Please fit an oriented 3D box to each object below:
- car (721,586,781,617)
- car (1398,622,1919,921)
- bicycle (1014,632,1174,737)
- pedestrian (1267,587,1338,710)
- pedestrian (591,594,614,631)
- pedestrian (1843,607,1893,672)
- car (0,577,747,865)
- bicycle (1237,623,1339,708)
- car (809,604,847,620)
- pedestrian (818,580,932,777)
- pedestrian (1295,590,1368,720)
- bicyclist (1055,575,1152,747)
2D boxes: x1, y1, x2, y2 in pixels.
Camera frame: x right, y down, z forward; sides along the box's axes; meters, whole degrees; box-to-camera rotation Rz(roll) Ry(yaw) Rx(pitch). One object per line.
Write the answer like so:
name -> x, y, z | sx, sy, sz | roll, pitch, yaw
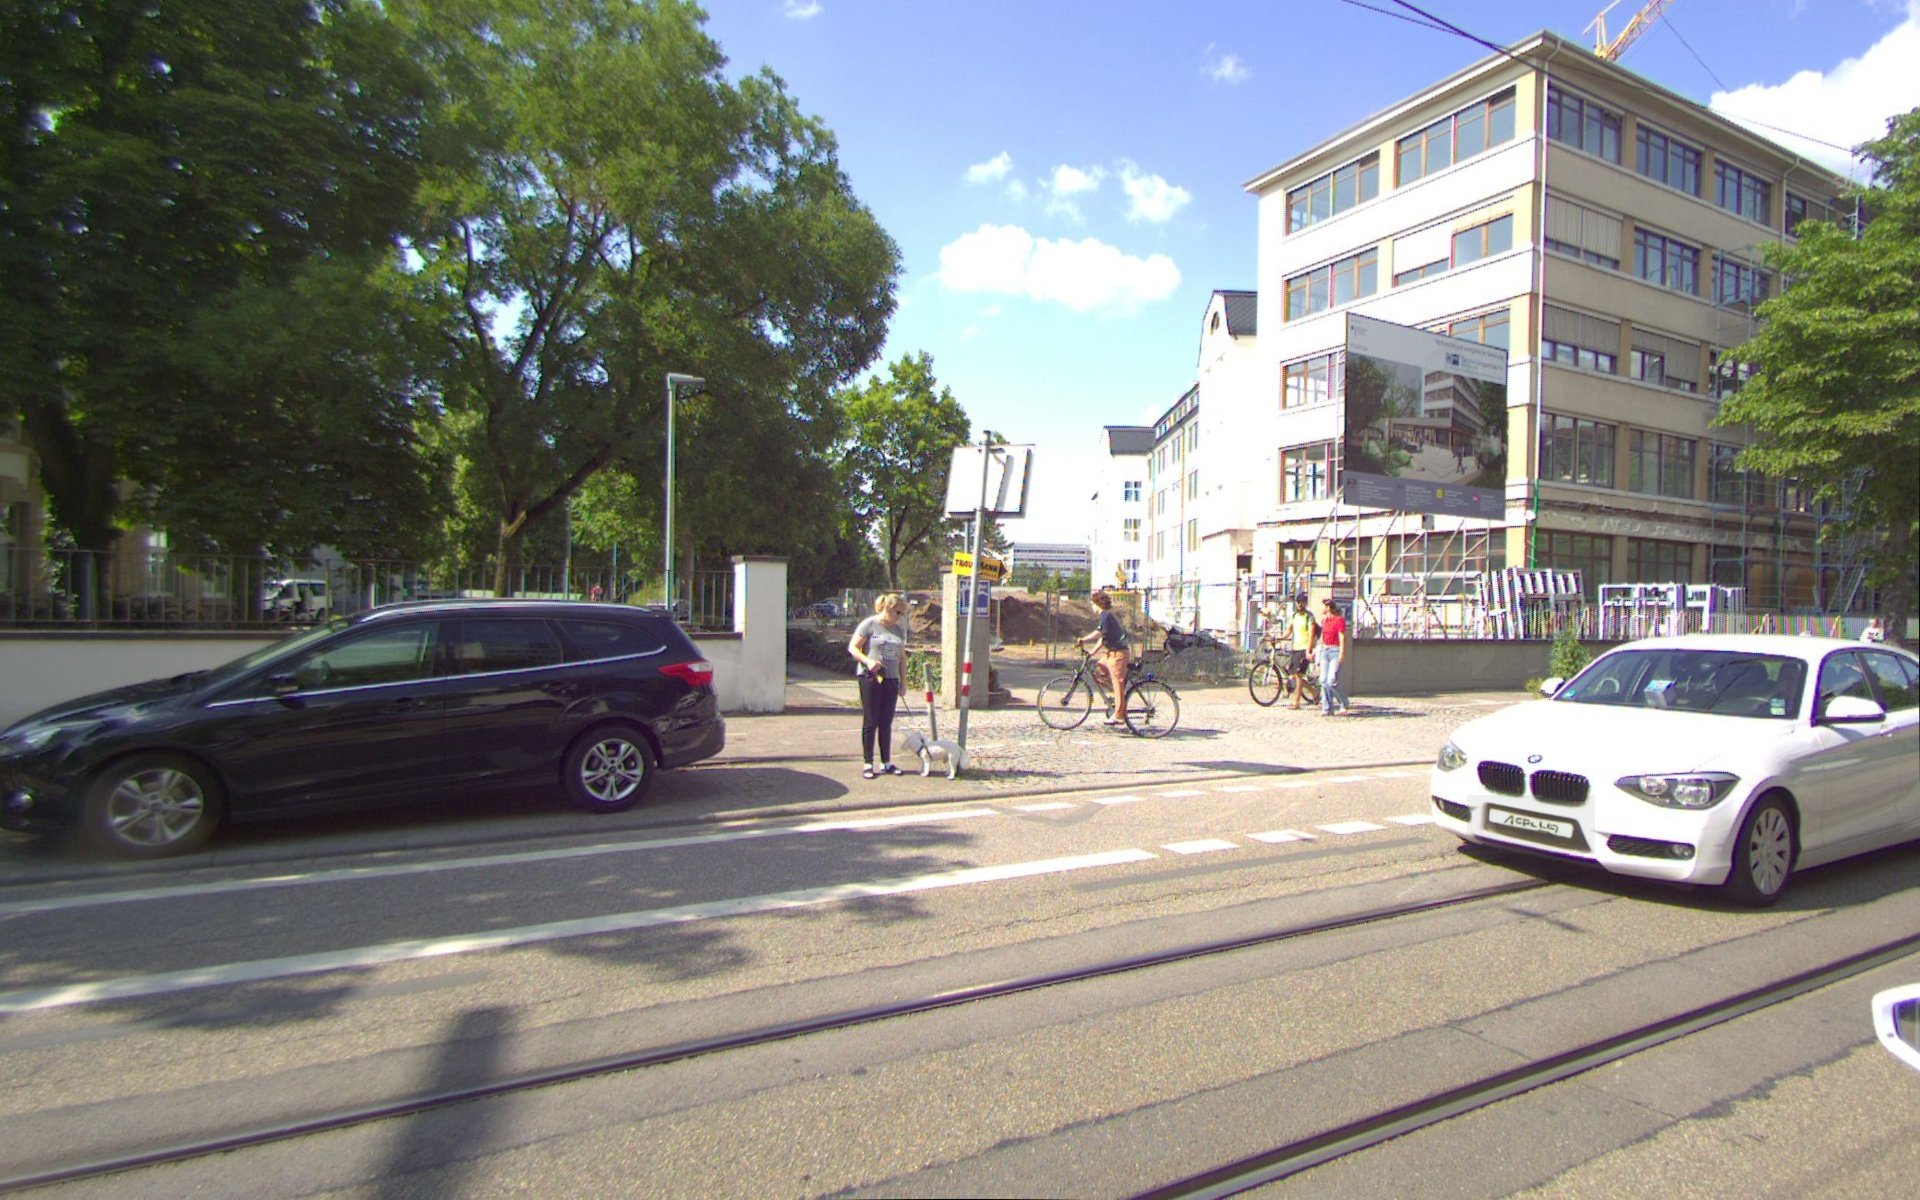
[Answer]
car -> -14.632, 0.122, 70.470 | 3.925, 2.040, 1.998 | 1, 0, -6
car -> 4.987, 0.902, 6.534 | 4.173, 1.424, 1.680 | 2, -2, -27
bicycle -> 1.665, 1.025, 12.388 | 1.921, 1.181, 0.640 | 3, 1, -30
pedestrian -> 5.308, 0.736, 15.573 | 0.655, 1.817, 0.703 | 0, 3, -34
pedestrian -> -15.914, 0.563, 44.695 | 0.751, 1.642, 0.594 | 1, 0, 10
pedestrian -> 23.917, 1.029, 26.461 | 0.587, 1.642, 0.761 | 1, 1, -28
car -> -4.014, 0.694, 7.209 | 4.541, 1.536, 1.739 | 2, 1, -32
bicycle -> 5.255, 1.030, 16.053 | 1.716, 1.303, 0.444 | 1, 0, -27
car -> -13.446, 1.195, 102.411 | 3.595, 1.509, 1.785 | 1, 0, -2
pedestrian -> -0.757, 0.669, 9.026 | 0.714, 1.659, 0.691 | 2, 1, 28
pedestrian -> 5.541, 0.795, 14.999 | 0.655, 1.857, 0.703 | -1, 4, -34
bicyclist -> 1.775, 0.710, 12.489 | 0.824, 2.041, 0.872 | 0, 2, -30
